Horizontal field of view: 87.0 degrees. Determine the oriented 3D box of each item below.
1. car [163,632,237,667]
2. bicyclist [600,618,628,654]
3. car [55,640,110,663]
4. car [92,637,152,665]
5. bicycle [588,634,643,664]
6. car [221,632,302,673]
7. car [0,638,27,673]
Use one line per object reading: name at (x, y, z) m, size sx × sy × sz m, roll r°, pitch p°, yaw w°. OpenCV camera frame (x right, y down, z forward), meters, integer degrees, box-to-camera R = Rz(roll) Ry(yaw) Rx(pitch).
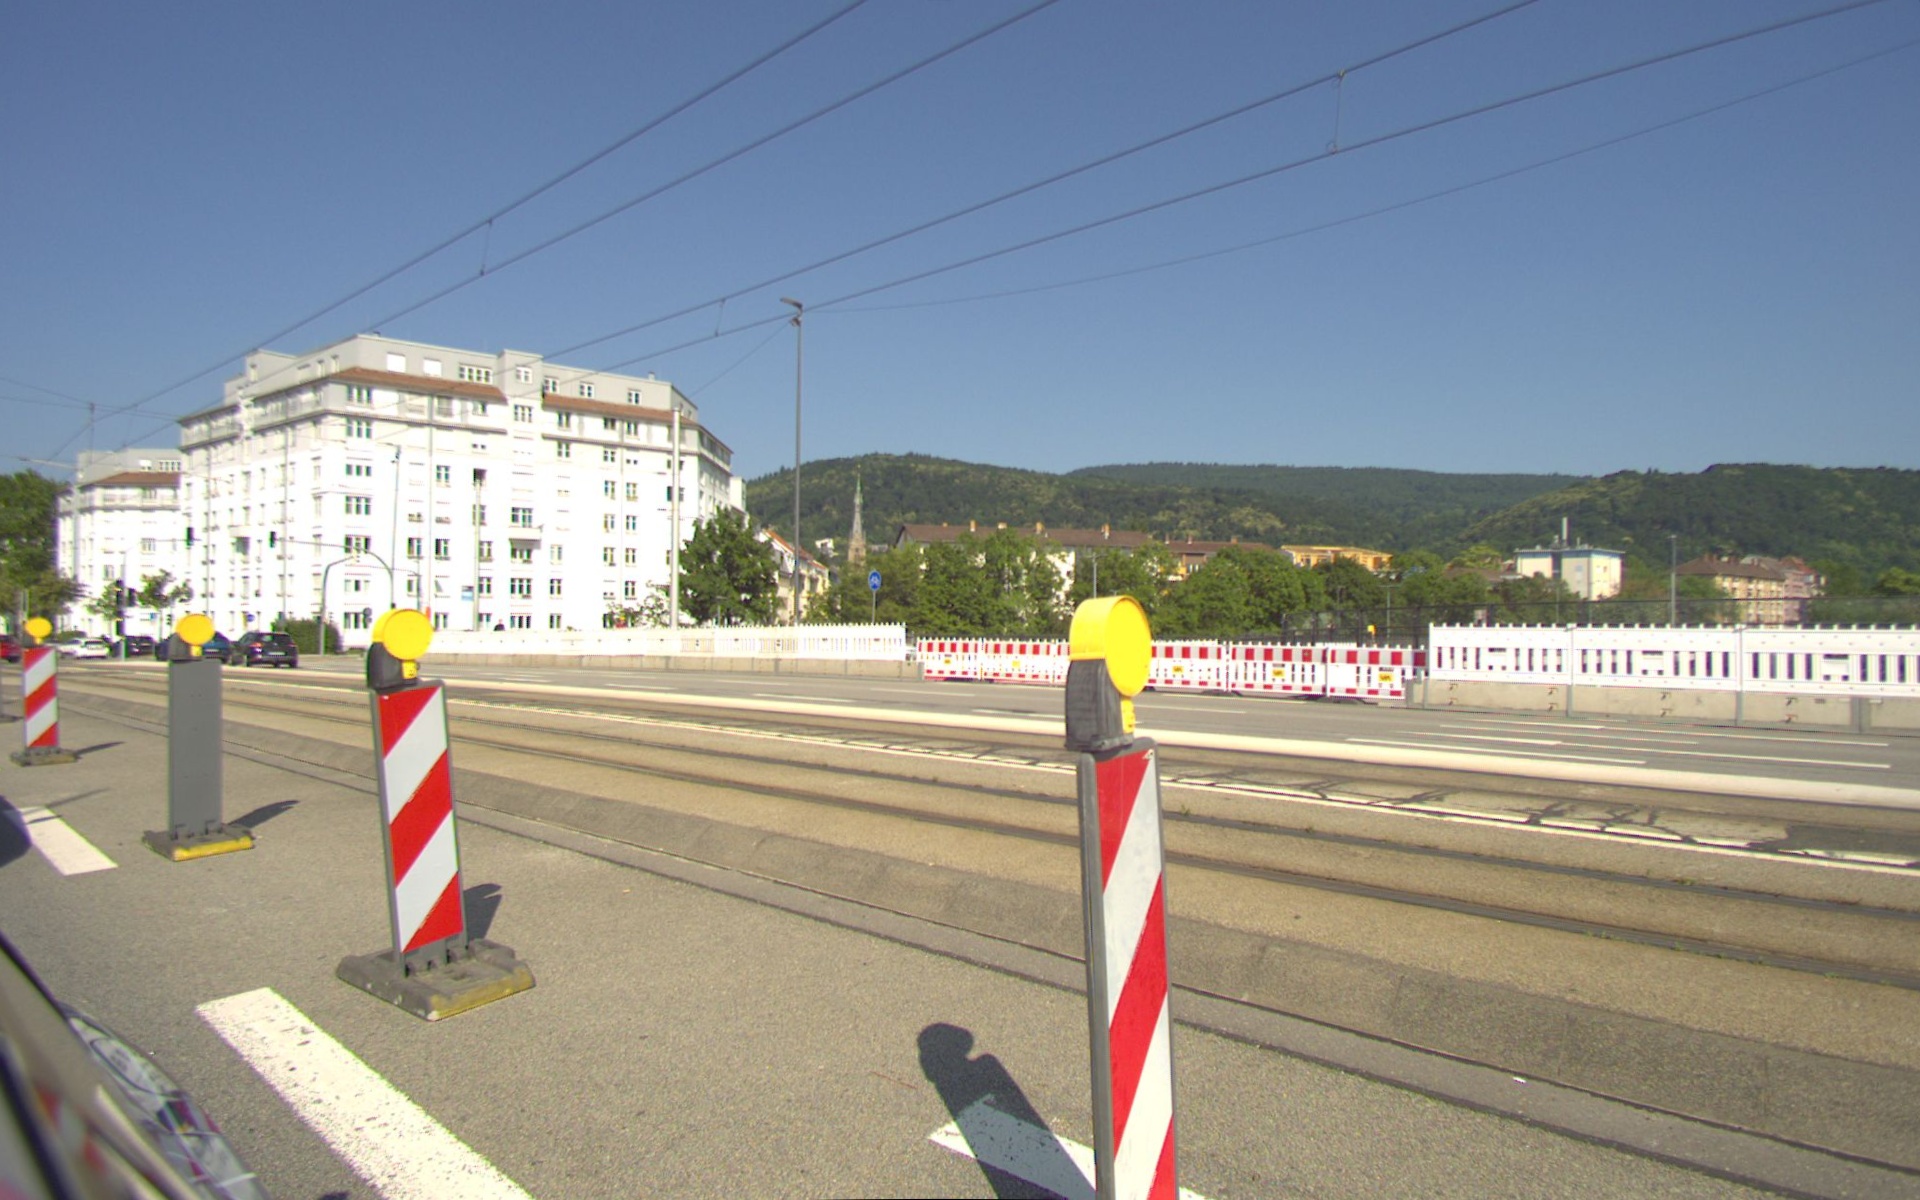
car at (-35.694, 2.297, 47.511) m, size 3.999 × 1.497 × 2.012 m, roll 0°, pitch -2°, yaw 42°
bicyclist at (-15.229, 1.569, 44.574) m, size 0.817 × 1.530 × 0.847 m, roll -1°, pitch 0°, yaw 40°
car at (-60.123, 3.504, 69.317) m, size 3.993 × 1.497 × 2.015 m, roll 0°, pitch -2°, yaw 37°
car at (-49.903, 3.005, 60.227) m, size 3.996 × 1.497 × 2.013 m, roll 0°, pitch -2°, yaw 40°
bicycle at (-15.200, 2.128, 44.557) m, size 3.070 × 1.204 × 0.847 m, roll -1°, pitch 0°, yaw 41°
car at (-27.498, 2.028, 39.807) m, size 4.000 × 1.497 × 1.777 m, roll -1°, pitch -1°, yaw 43°
car at (-49.735, 2.881, 50.767) m, size 3.941 × 1.696 × 2.001 m, roll -3°, pitch -1°, yaw -3°
